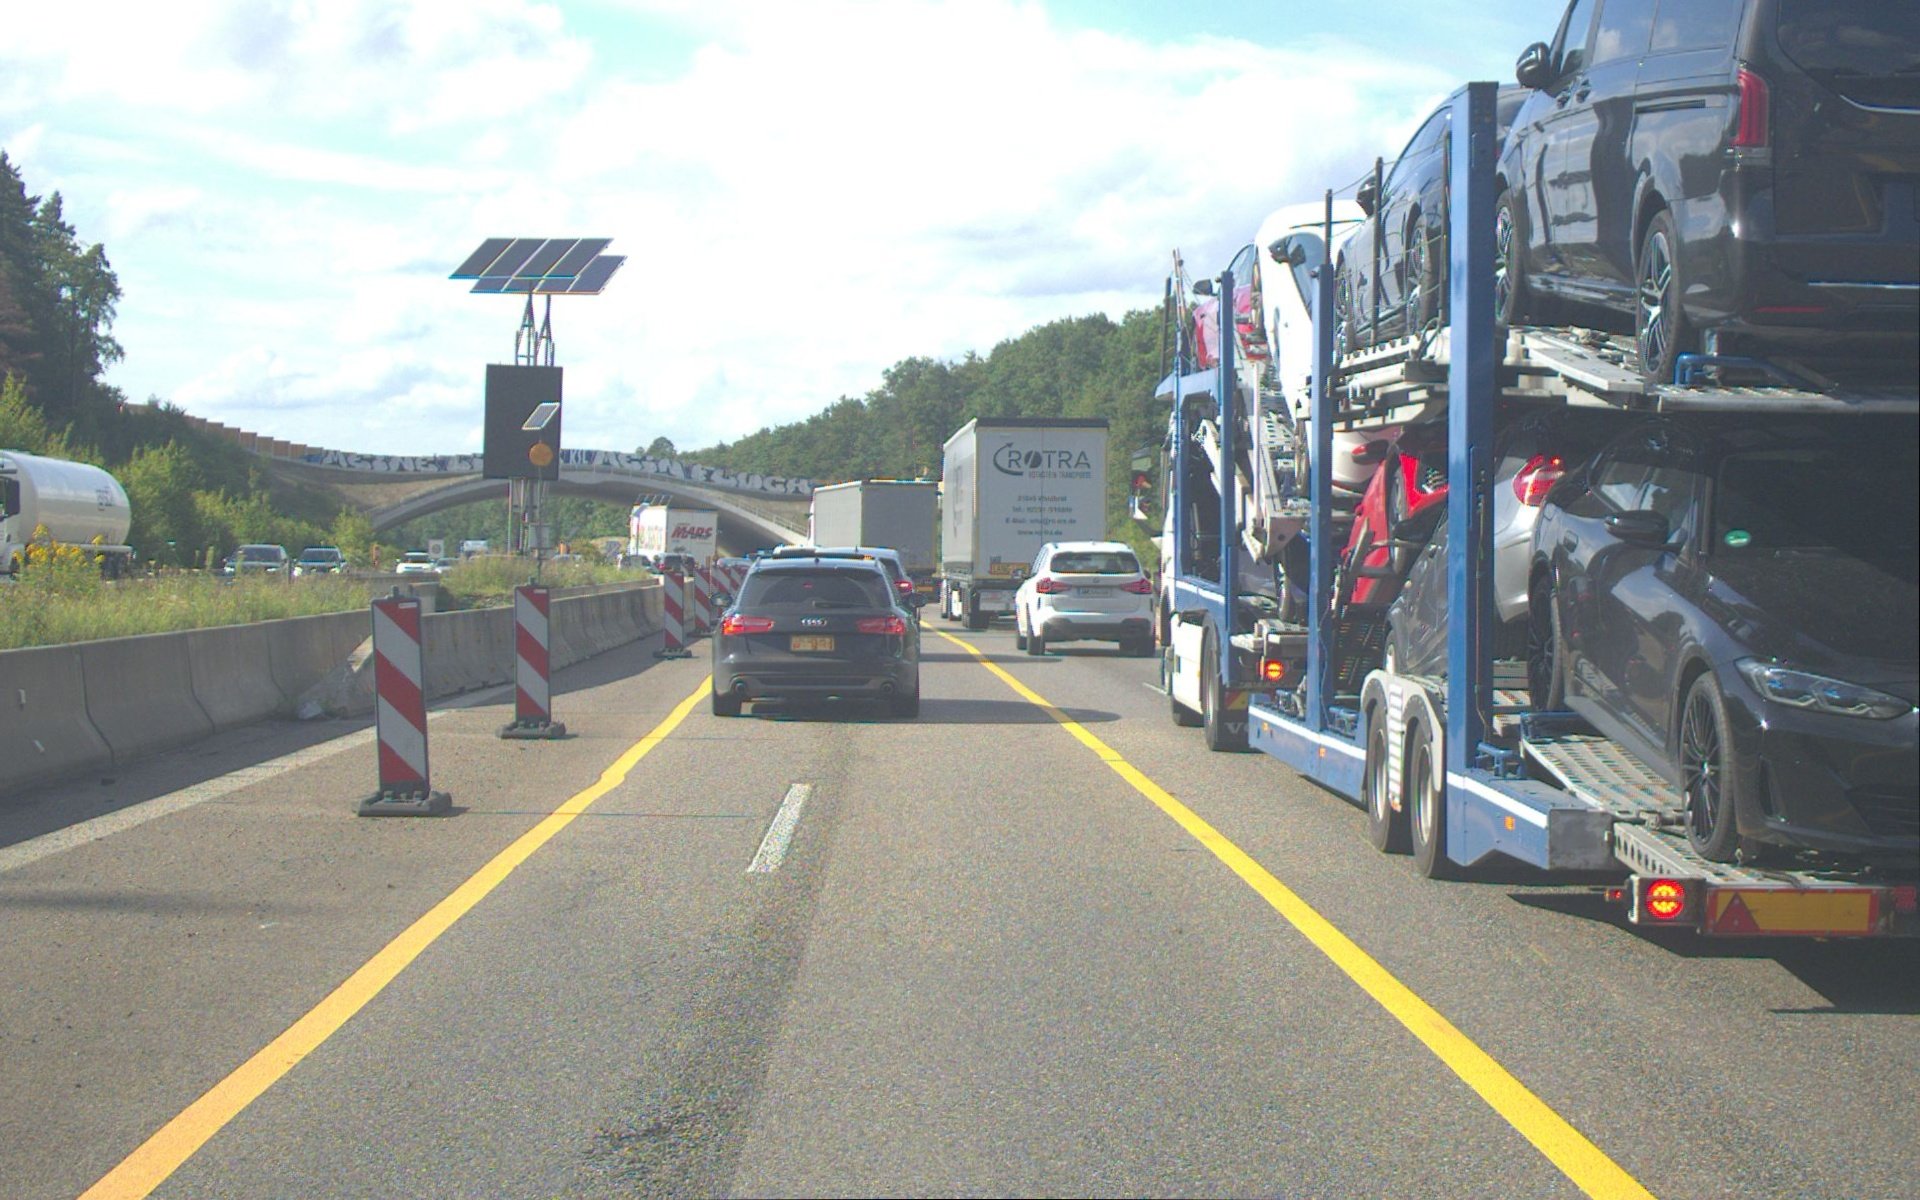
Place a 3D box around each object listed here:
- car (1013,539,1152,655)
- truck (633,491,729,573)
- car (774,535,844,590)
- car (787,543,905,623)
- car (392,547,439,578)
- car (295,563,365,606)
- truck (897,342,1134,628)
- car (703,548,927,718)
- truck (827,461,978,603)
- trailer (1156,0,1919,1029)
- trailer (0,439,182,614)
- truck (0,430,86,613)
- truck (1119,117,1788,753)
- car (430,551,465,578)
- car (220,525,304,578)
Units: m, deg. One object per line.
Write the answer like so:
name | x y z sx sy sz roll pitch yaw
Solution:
car | 1.785 -0.071 51.363 1.890 1.638 4.018 1 1 0
truck | -14.150 -3.397 173.584 3.653 3.915 11.070 1 1 -10
car | -4.624 -1.148 105.071 1.890 1.638 4.018 1 1 -6
car | -2.211 -0.336 65.538 1.890 1.441 4.001 1 1 -7
car | -28.488 -1.952 179.920 1.778 1.597 4.018 1 1 0
car | -24.202 -0.597 132.150 1.958 1.583 4.483 1 1 -2
truck | 0.903 -2.258 72.836 3.677 5.335 16.203 1 1 -4
car | -1.274 0.260 31.750 1.890 1.441 4.000 1 1 0
truck | -2.102 -2.305 118.367 4.318 4.584 11.127 1 1 -5
trailer | 3.724 -0.847 18.719 3.726 4.182 16.229 1 1 -2
trailer | -19.391 -1.540 74.117 2.802 3.478 11.113 1 1 -1
truck | -19.320 -1.540 67.957 2.785 3.478 4.939 1 1 0
truck | 3.490 -1.140 26.948 3.761 4.182 7.952 1 1 -2
car | -31.112 -2.156 208.931 1.777 1.597 4.677 1 1 -5
car | -21.649 -1.503 106.735 1.778 1.597 4.018 1 1 0
